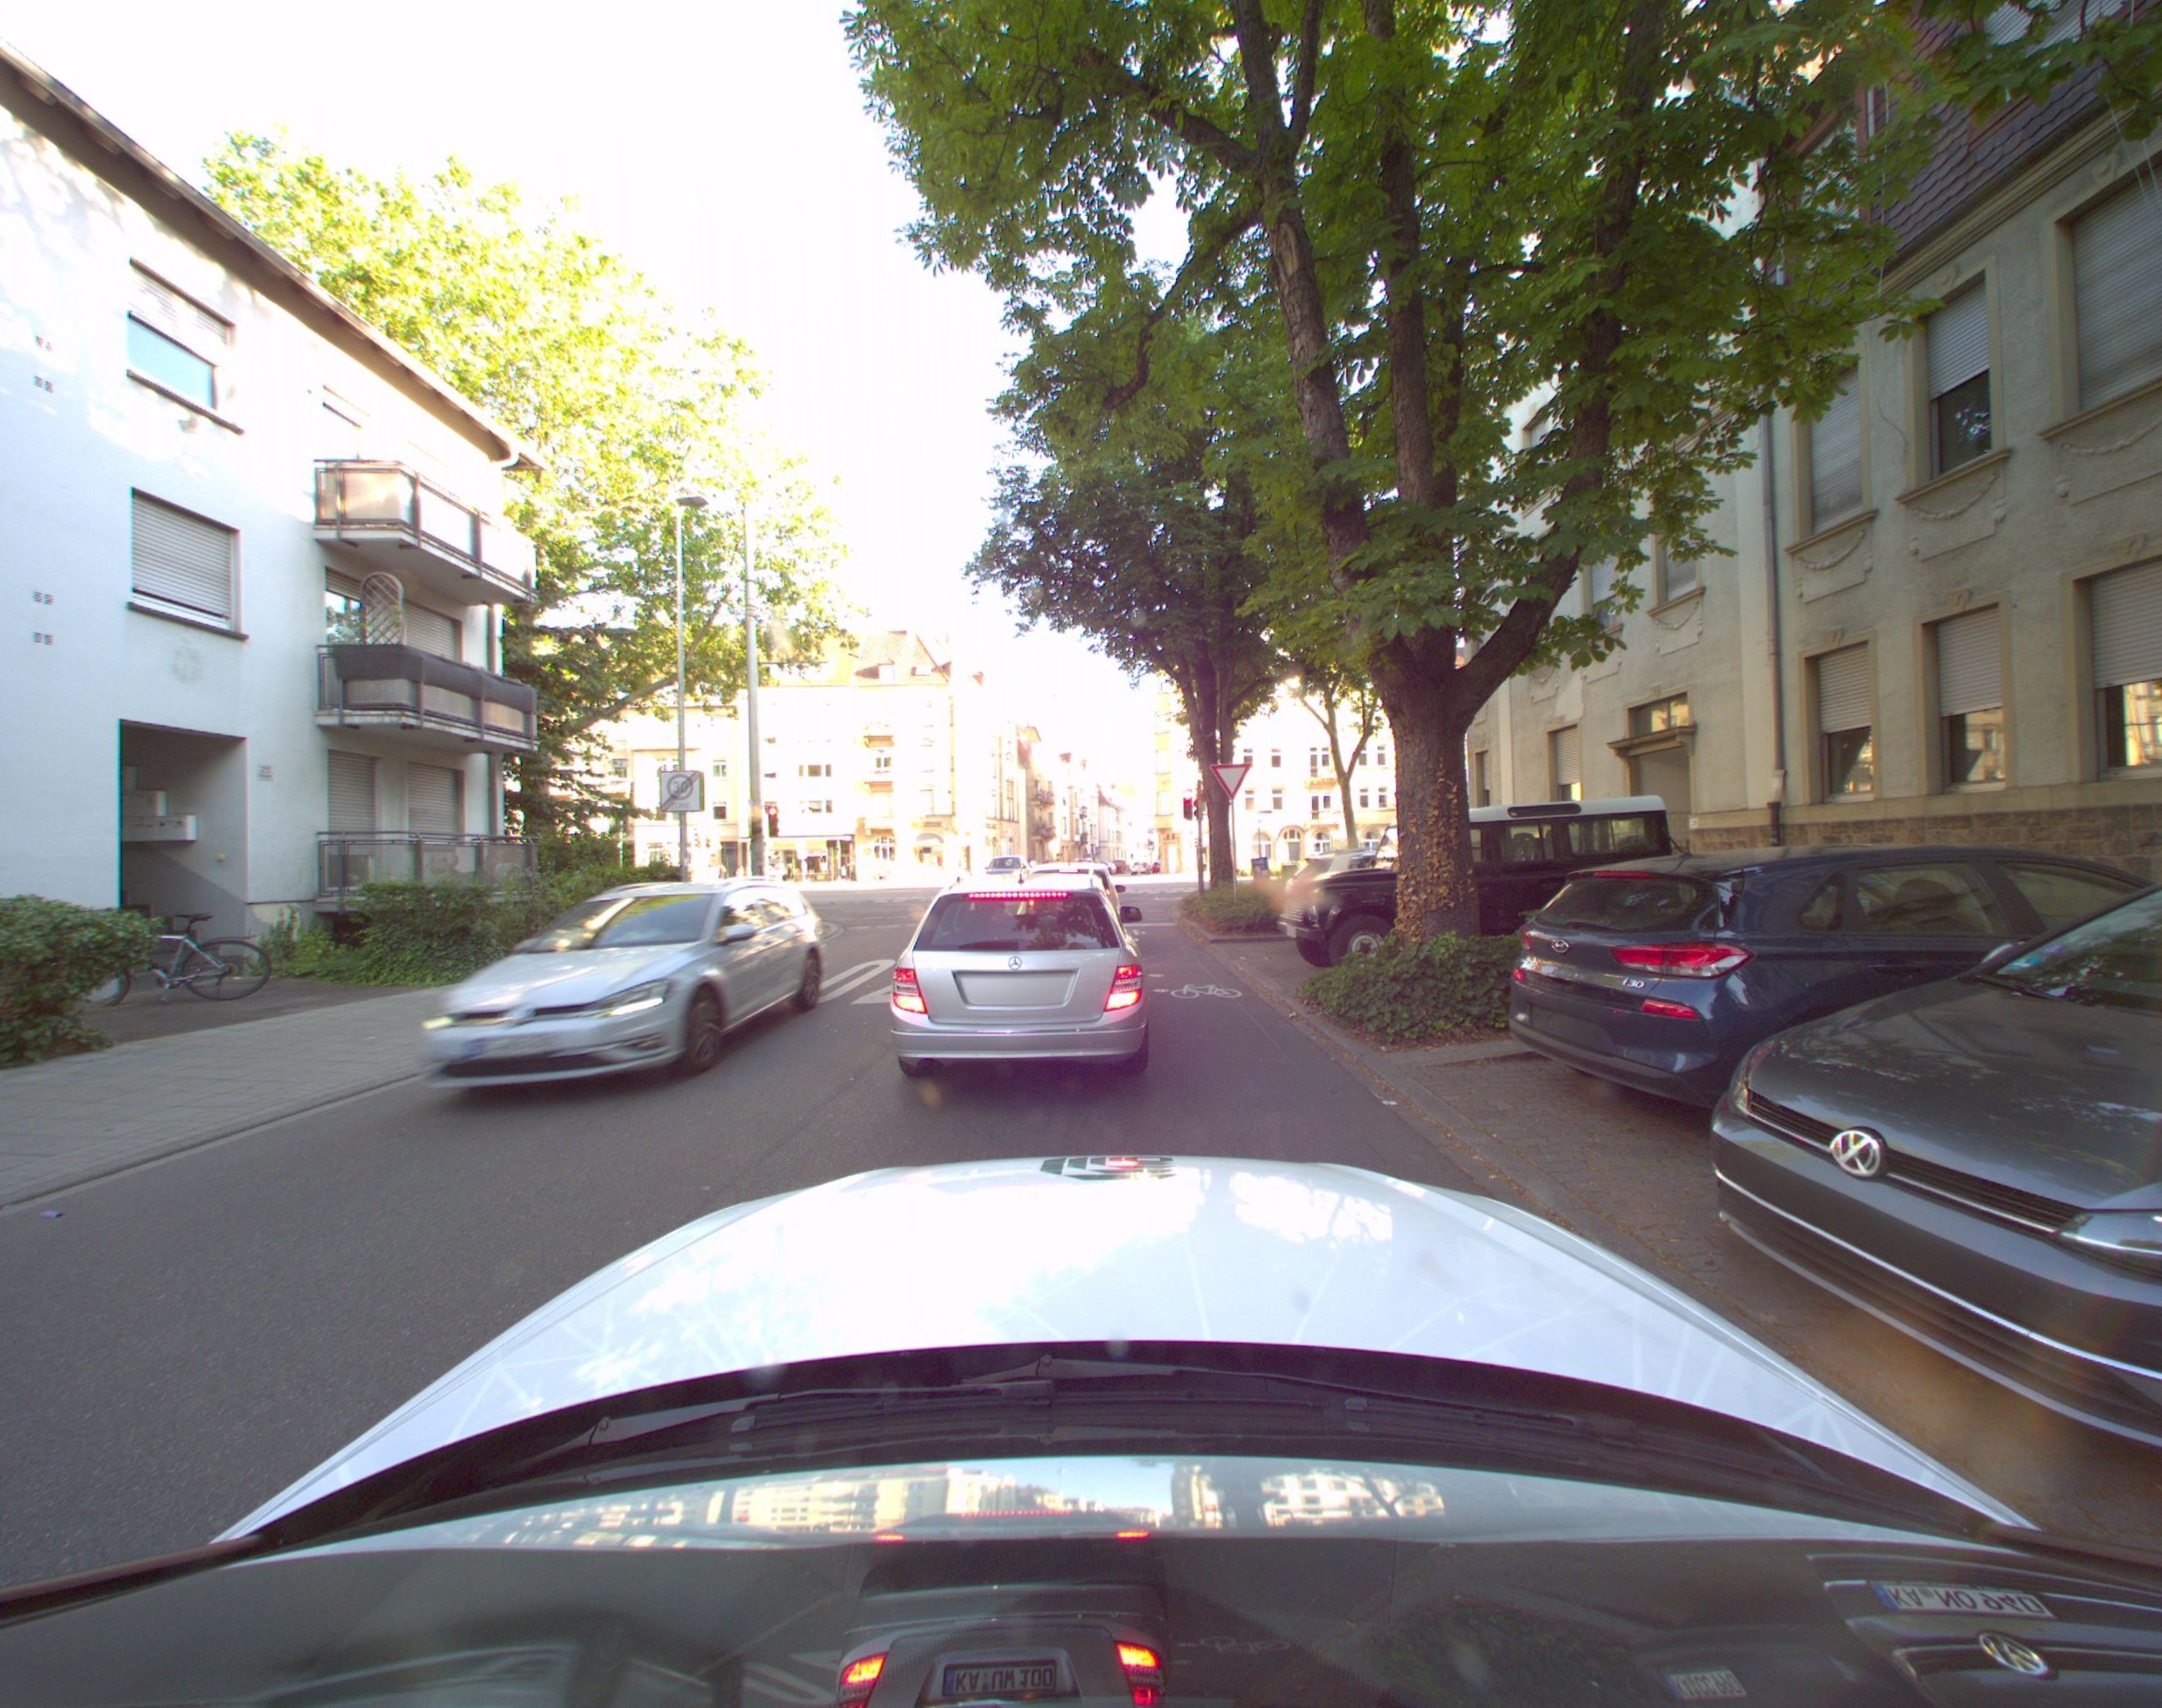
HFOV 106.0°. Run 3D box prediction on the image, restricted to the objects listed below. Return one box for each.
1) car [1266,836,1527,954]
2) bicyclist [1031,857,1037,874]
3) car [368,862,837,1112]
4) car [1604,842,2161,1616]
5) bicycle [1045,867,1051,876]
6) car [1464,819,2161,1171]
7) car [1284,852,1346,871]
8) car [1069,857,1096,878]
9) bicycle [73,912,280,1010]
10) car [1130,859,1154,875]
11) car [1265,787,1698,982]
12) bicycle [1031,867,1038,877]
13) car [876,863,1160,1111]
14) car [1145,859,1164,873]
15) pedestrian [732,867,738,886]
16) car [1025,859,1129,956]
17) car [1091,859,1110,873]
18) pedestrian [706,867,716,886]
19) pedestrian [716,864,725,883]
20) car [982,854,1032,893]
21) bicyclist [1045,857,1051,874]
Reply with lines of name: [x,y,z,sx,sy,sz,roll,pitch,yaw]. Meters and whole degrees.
car: [4.958,0.609,13.075,3.475,1.586,1.708,-3,0,-5]
bicyclist: [-4.218,1.040,73.593,0.465,1.514,0.655,-1,0,-2]
car: [-3.726,0.877,7.416,1.776,1.462,4.296,-3,0,-2]
car: [4.056,0.661,2.338,4.037,1.422,1.627,-3,-1,-2]
bicycle: [-2.983,1.564,73.537,0.567,0.834,1.565,-1,0,-1]
car: [4.403,0.613,4.520,3.739,1.422,1.627,-3,-1,-2]
car: [14.168,0.465,49.430,3.352,1.069,1.380,-2,0,0]
car: [0.165,1.333,81.229,1.926,1.958,4.161,-2,0,10]
bicycle: [-10.008,1.156,9.087,1.469,0.975,0.402,2,-2,-38]
car: [6.456,1.314,85.919,1.708,1.478,4.016,-3,0,14]
car: [4.789,0.348,10.200,4.478,1.956,1.792,-3,0,-1]
bicycle: [-4.197,1.593,73.436,0.567,0.834,1.565,-1,0,-1]
car: [-0.393,0.808,6.600,1.685,1.429,3.491,0,0,-1]
car: [9.218,1.451,102.037,1.709,1.478,4.016,-6,-1,14]
pedestrian: [-27.643,1.782,65.052,0.431,1.511,0.471,-1,0,-21]
car: [-0.047,0.804,13.852,1.528,1.391,3.599,-1,0,0]
car: [2.524,1.528,102.557,1.639,1.783,3.876,-1,-1,13]
pedestrian: [-29.310,1.788,64.491,0.539,1.511,0.504,-1,-1,-40]
pedestrian: [-28.225,1.509,63.783,0.566,1.511,0.499,-1,0,-17]
car: [-3.103,0.783,34.620,1.609,1.501,3.594,-2,1,2]
bicyclist: [-3.002,1.006,73.580,0.465,1.521,0.693,-1,0,-2]
